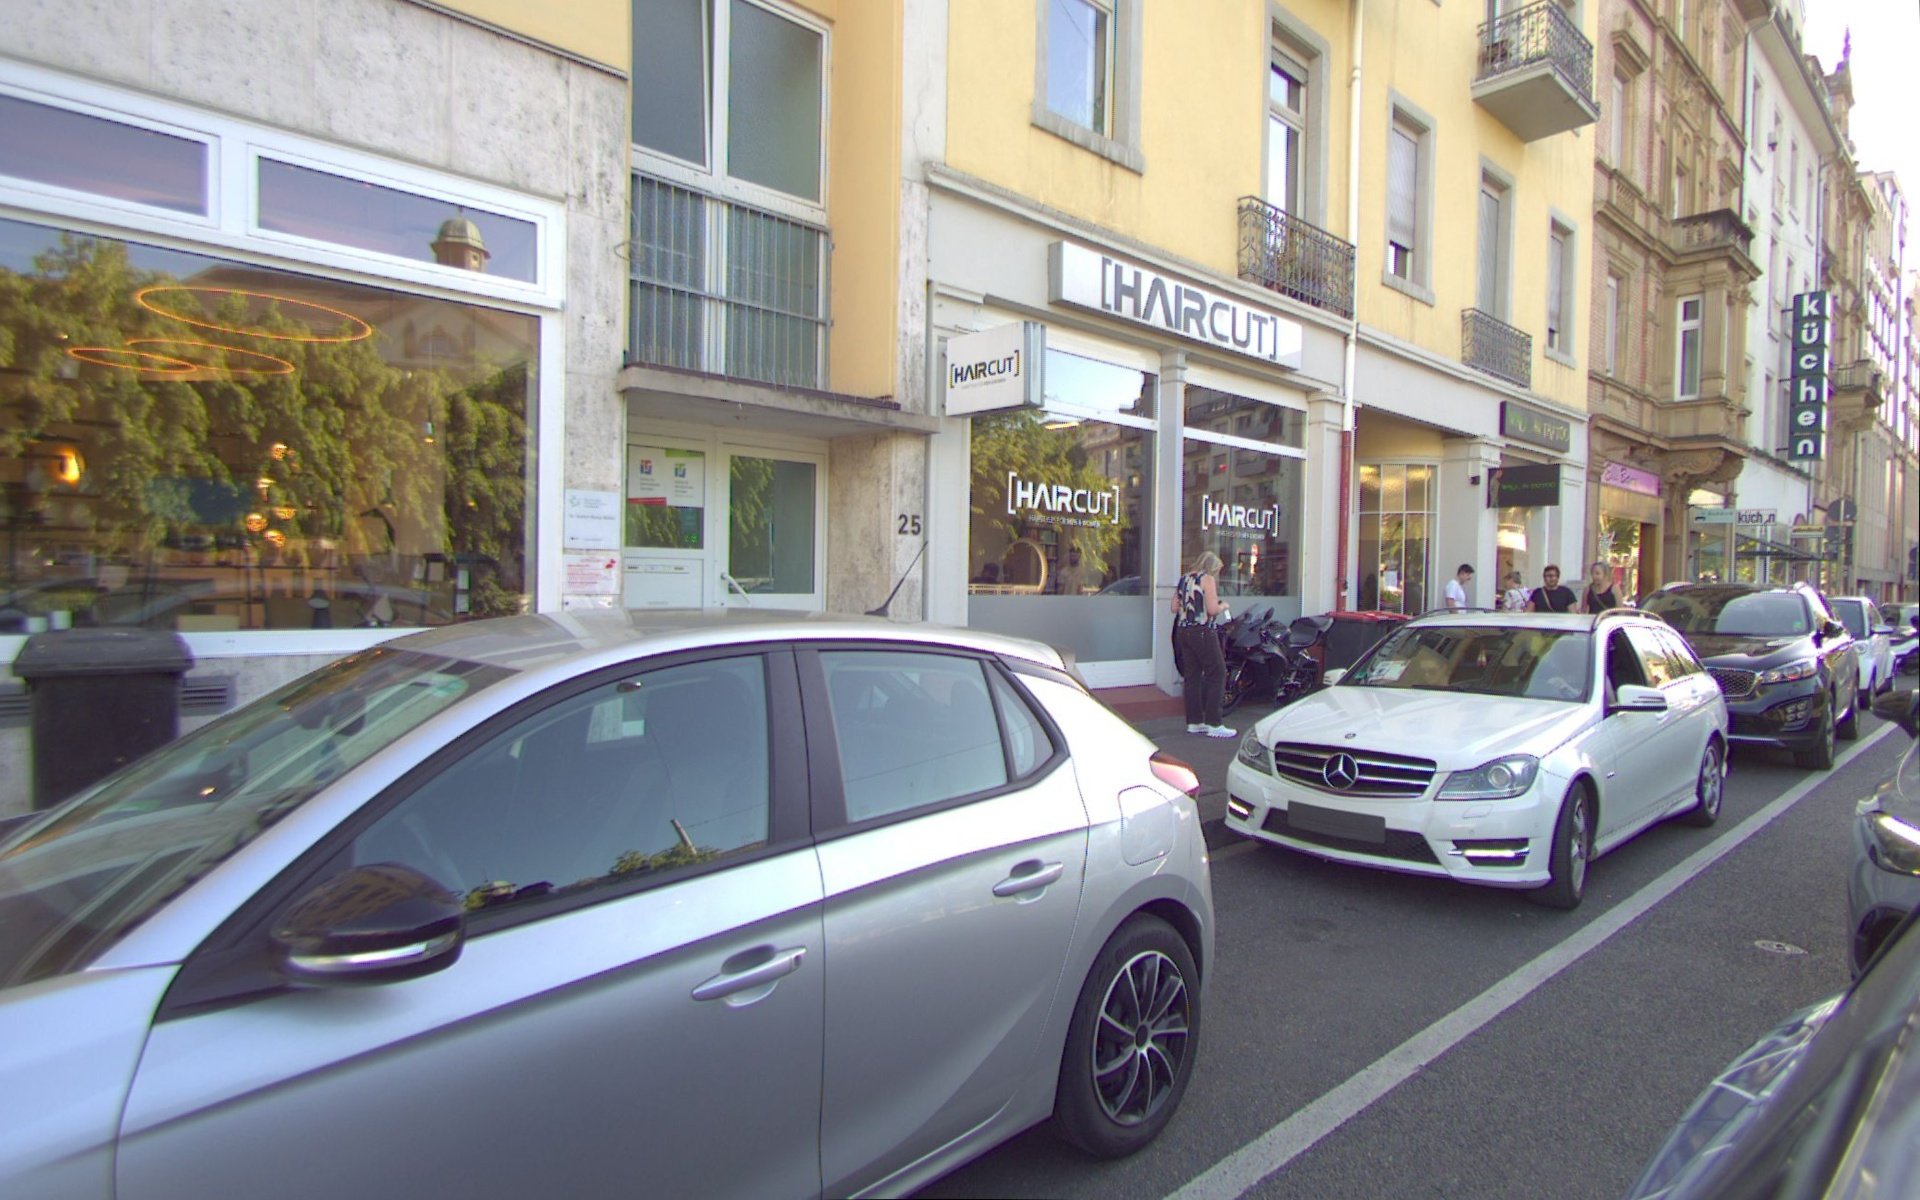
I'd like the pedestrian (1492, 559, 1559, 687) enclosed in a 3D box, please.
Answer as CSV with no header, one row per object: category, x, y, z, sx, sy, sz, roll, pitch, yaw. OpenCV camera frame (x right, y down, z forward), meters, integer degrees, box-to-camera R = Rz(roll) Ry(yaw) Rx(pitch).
pedestrian,7.610,0.301,13.624,0.582,1.681,0.451,2,1,3

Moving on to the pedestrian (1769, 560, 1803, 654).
pedestrian,15.838,0.129,19.412,0.473,1.785,0.434,0,0,-41

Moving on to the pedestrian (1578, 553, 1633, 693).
pedestrian,7.827,0.268,12.272,0.513,1.653,0.408,1,0,40

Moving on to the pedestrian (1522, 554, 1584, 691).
pedestrian,7.363,0.265,12.565,0.615,1.653,0.457,1,0,37

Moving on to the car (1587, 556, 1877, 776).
car,8.009,0.499,10.318,4.498,1.758,1.756,0,1,-45

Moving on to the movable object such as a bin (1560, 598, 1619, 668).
movable object such as a bin,10.239,0.525,16.456,0.608,1.079,0.606,0,4,-41

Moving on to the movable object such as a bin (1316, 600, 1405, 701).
movable object such as a bin,4.518,0.552,11.420,0.608,1.054,0.661,0,3,-38

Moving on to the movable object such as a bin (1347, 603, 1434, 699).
movable object such as a bin,5.019,0.575,11.809,0.608,1.037,0.669,0,3,-38

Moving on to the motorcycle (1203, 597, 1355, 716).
motorcycle,3.329,0.533,10.452,1.975,1.105,0.551,0,3,-42

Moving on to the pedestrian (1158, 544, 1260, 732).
pedestrian,2.289,0.318,9.327,0.523,1.653,0.697,0,2,-43

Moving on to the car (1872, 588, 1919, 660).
car,22.146,0.519,23.054,4.096,1.537,1.734,0,1,-44

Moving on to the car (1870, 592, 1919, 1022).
car,5.412,0.713,4.280,4.297,1.467,1.846,0,1,-41

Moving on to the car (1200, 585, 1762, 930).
car,3.541,0.653,6.443,4.387,1.465,1.741,0,1,-42

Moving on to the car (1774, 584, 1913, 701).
car,12.893,0.542,14.737,2.748,1.537,1.273,0,1,-44

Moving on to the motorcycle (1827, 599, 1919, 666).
motorcycle,19.055,0.654,20.474,2.137,1.295,0.866,1,0,8

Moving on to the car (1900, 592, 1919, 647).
car,26.546,0.509,27.031,3.736,1.435,1.736,0,1,-41

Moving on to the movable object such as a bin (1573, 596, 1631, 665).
movable object such as a bin,10.727,0.500,16.900,0.608,1.079,0.606,0,4,-41

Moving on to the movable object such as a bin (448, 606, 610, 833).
movable object such as a bin,-2.355,0.599,5.509,0.609,1.080,0.704,0,4,-41

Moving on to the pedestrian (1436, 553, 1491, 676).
pedestrian,6.995,0.193,14.072,0.513,1.681,0.339,1,1,-9

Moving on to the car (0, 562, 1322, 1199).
car,-0.881,0.661,2.452,4.008,1.445,1.672,0,1,-43

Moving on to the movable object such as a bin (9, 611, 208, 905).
movable object such as a bin,-3.661,0.616,4.370,0.609,1.080,0.704,0,4,-41
